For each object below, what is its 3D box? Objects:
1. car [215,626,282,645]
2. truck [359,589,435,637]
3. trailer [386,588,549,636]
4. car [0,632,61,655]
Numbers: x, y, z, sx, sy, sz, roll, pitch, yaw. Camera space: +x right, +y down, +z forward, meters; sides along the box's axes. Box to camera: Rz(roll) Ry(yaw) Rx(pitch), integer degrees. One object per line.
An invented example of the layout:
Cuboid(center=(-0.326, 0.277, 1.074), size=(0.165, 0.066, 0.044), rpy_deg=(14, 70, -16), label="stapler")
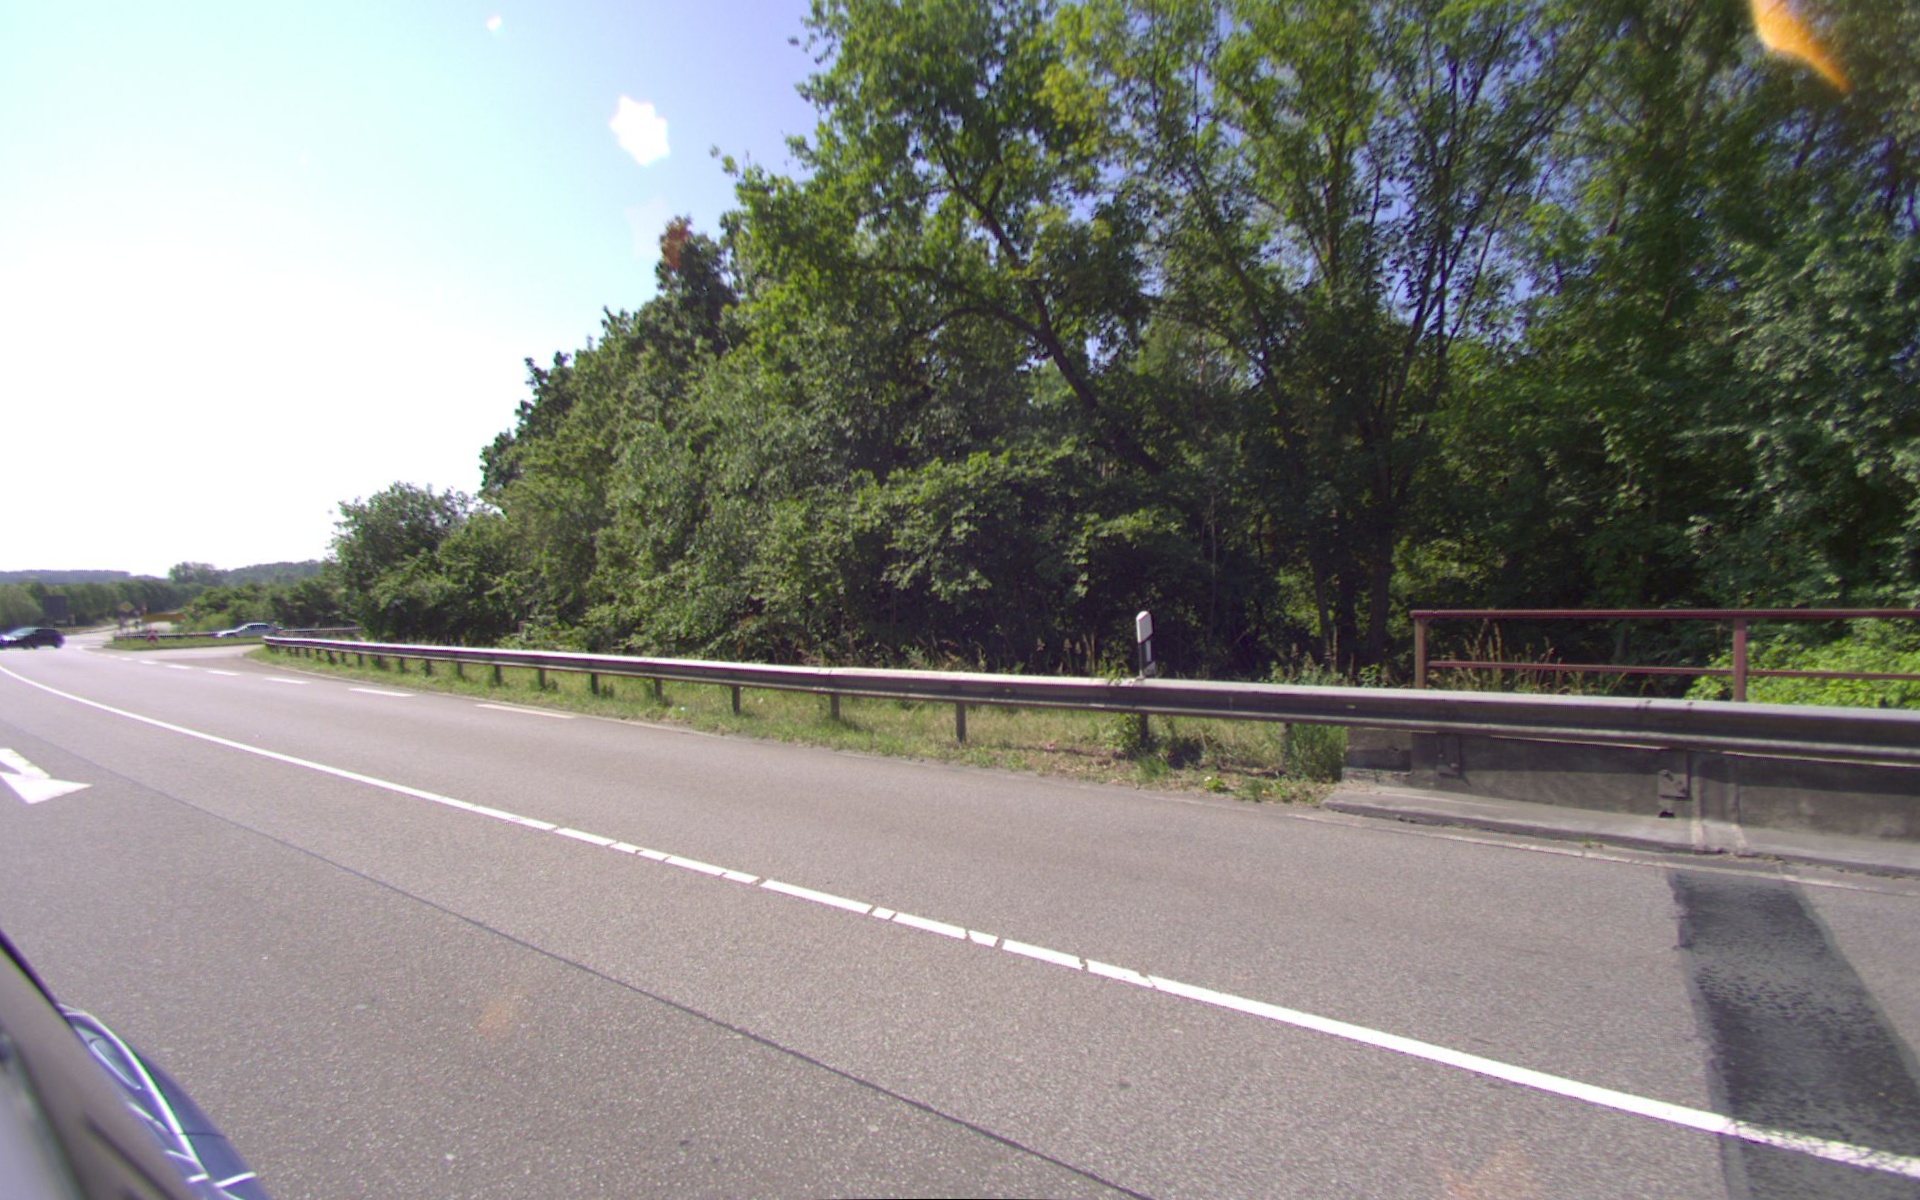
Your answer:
Cuboid(center=(-58.342, 2.881, 83.027), size=(4.310, 1.396, 1.791), rpy_deg=(-1, -1, -41), label="car")
Cuboid(center=(-51.435, 1.103, 92.486), size=(5.643, 4.269, 2.945), rpy_deg=(-1, 1, -41), label="truck")
Cuboid(center=(-46.726, 1.045, 96.573), size=(13.763, 4.272, 2.935), rpy_deg=(-1, 1, -41), label="trailer")
Cuboid(center=(-63.478, 2.969, 68.598), size=(1.762, 1.425, 4.003), rpy_deg=(-1, -1, -4), label="car")
